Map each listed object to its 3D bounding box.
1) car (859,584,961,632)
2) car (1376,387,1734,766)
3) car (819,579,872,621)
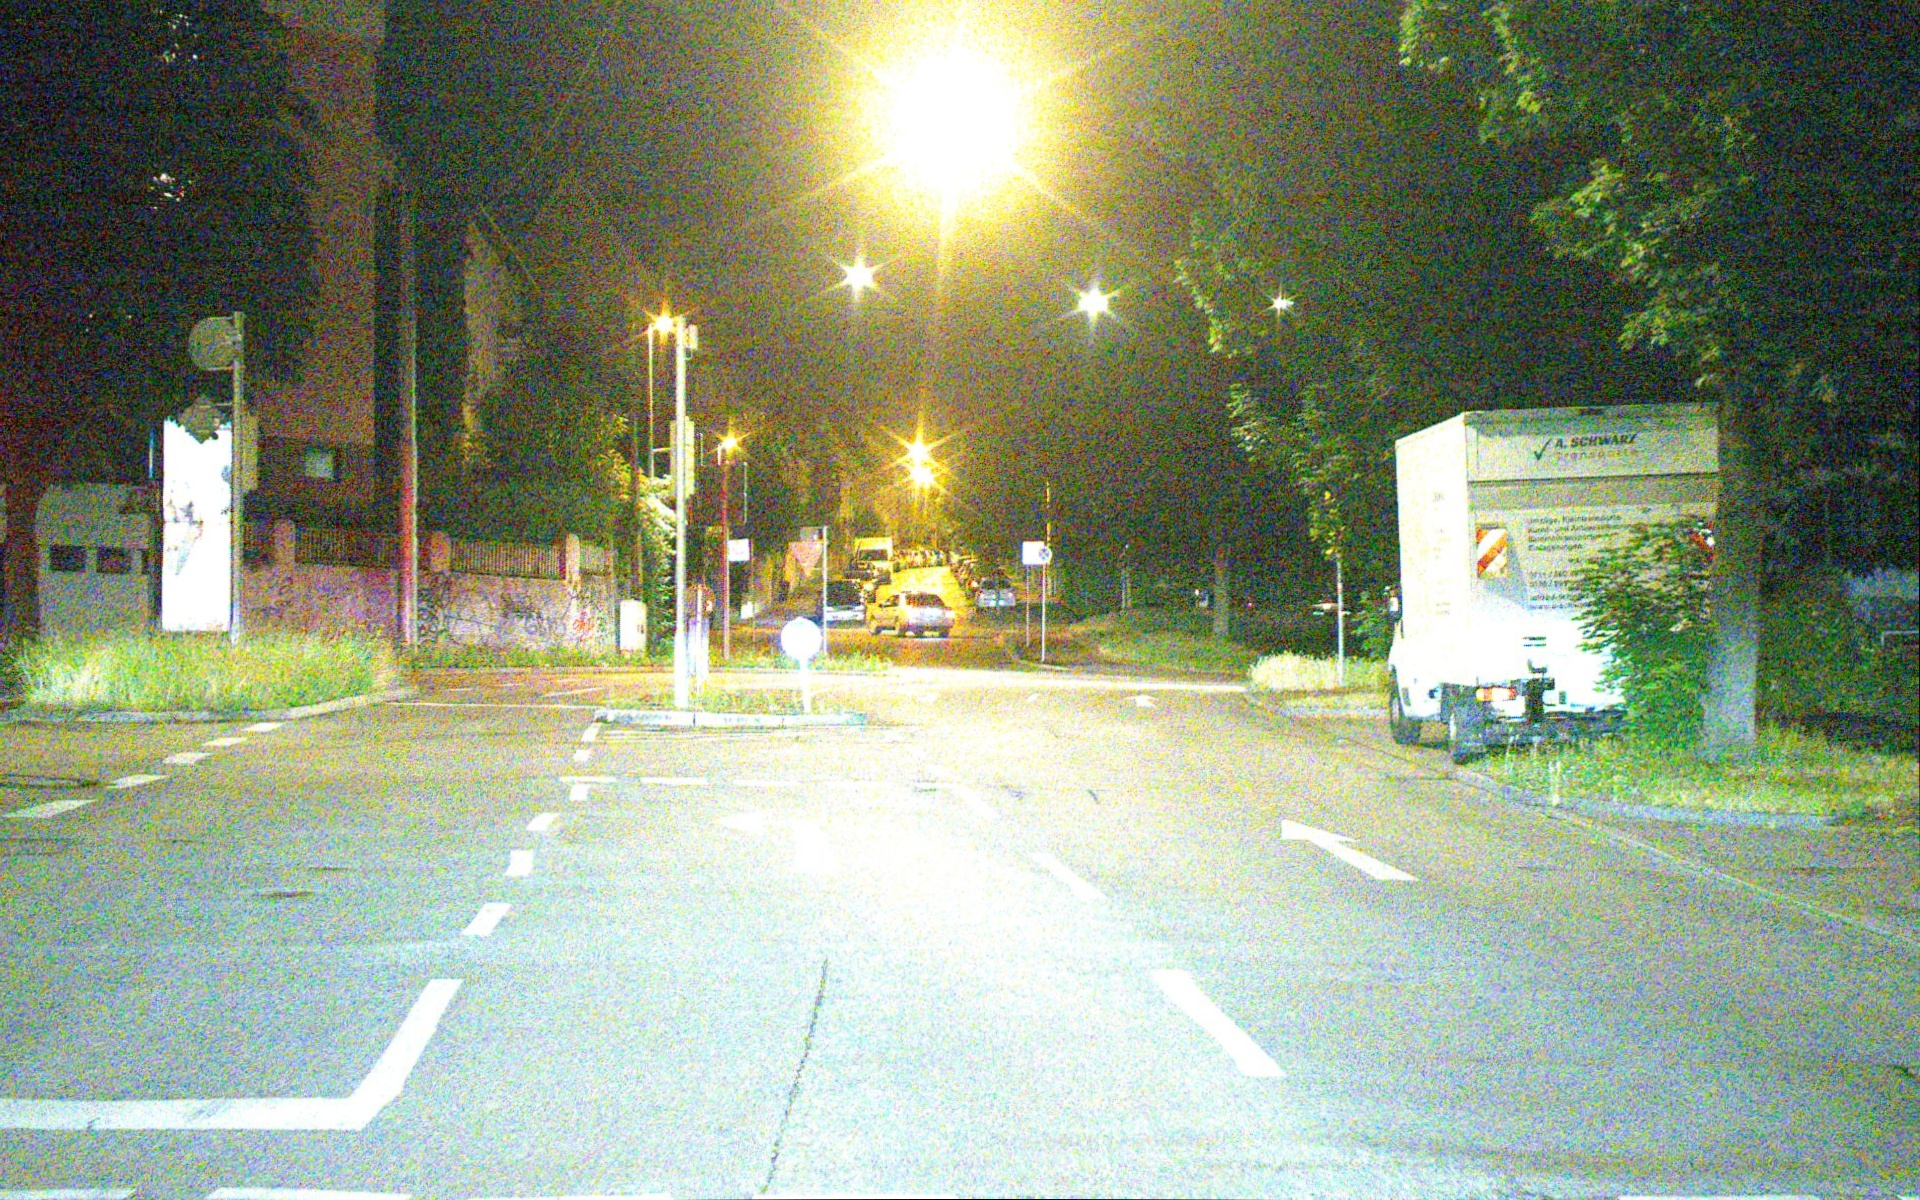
[{"bbox_3d":[-1.626,0.235,109.899,1.775,1.481,4.001,1,0,-25],"label":"car"},{"bbox_3d":[5.269,-0.198,31.327,2.297,3.082,5.840,-1,0,1],"label":"car"},{"bbox_3d":[-4.362,0.016,131.424,1.908,1.552,3.904,1,0,0],"label":"car"}]
